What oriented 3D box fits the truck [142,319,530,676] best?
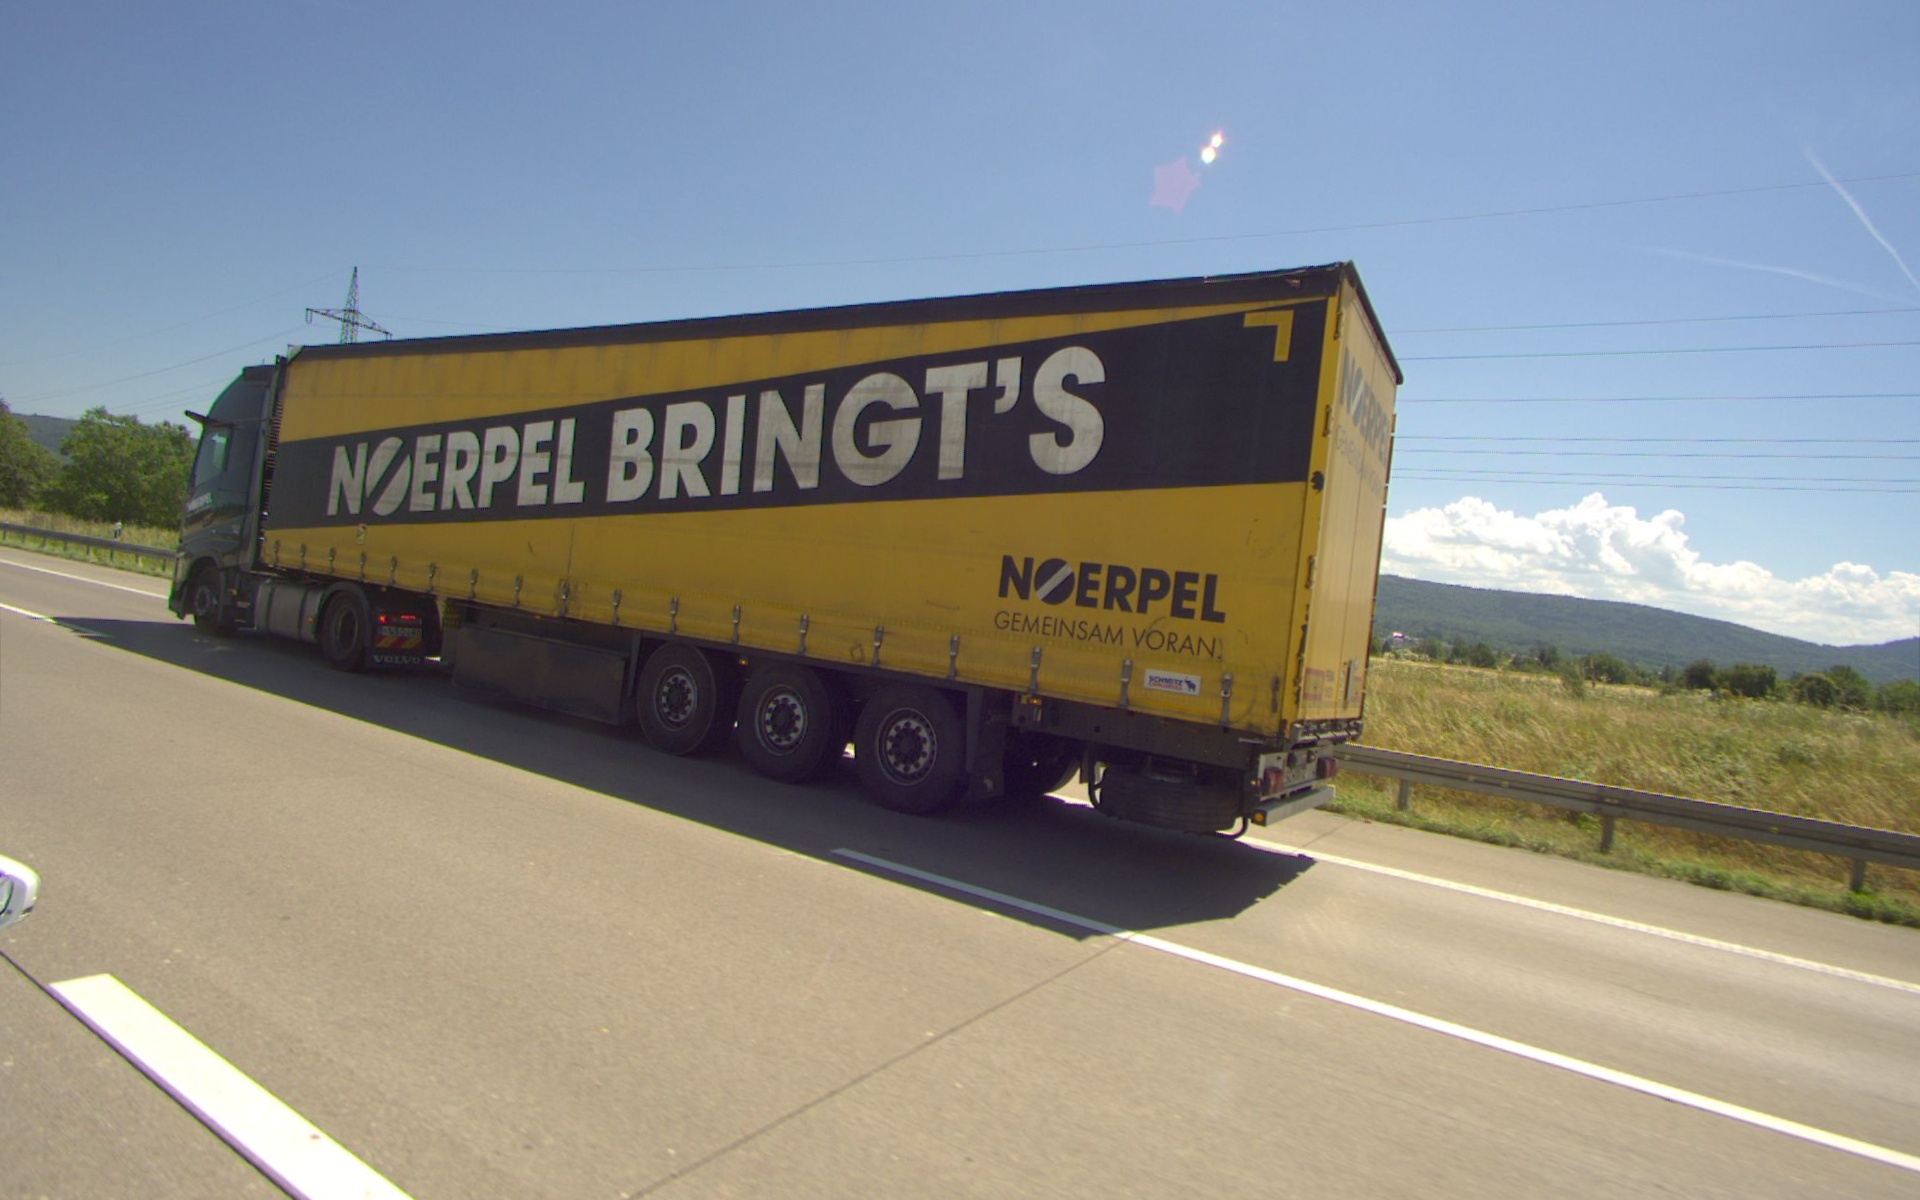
[{"bbox_3d":[-9.018,-1.424,14.355,5.611,4.242,1.997,6,-1,32],"label":"truck"}]

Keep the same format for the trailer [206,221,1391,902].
[{"bbox_3d":[-3.483,-0.818,10.897,14.502,4.242,1.997,6,-1,32],"label":"trailer"}]

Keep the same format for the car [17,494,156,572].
[{"bbox_3d":[-27.529,-2.124,31.691,3.933,1.868,1.999,6,-3,31],"label":"car"}]
